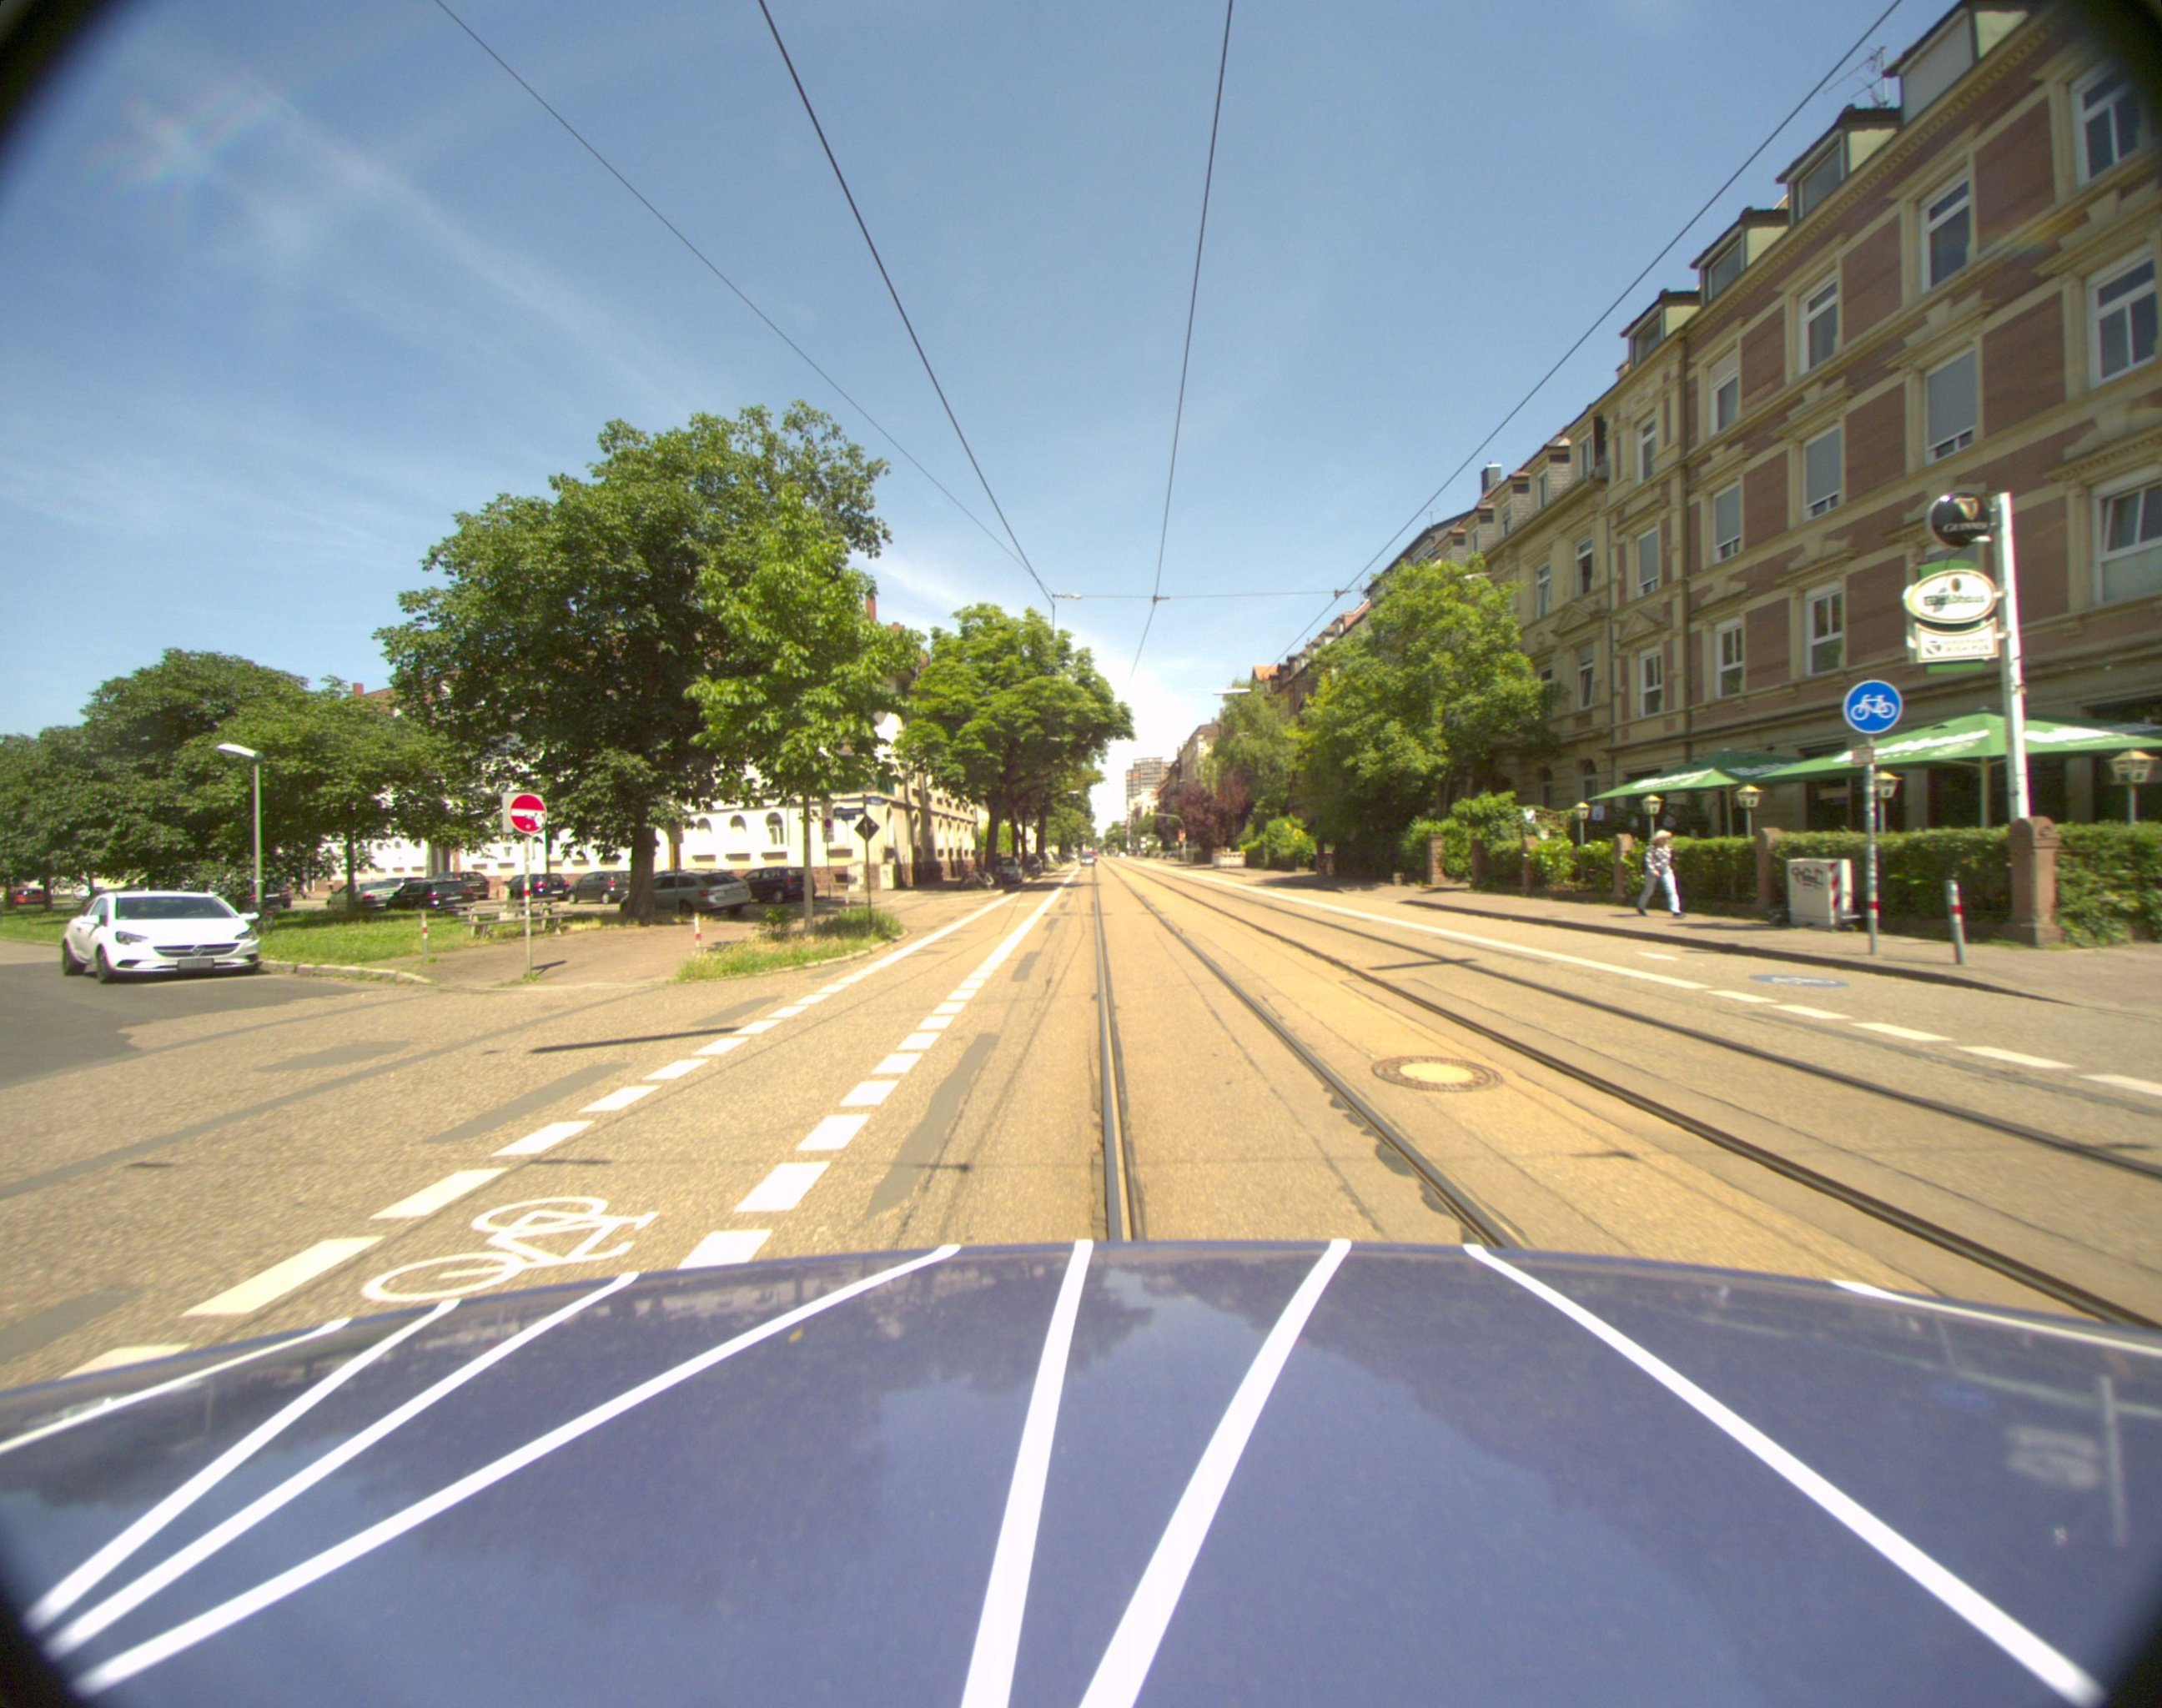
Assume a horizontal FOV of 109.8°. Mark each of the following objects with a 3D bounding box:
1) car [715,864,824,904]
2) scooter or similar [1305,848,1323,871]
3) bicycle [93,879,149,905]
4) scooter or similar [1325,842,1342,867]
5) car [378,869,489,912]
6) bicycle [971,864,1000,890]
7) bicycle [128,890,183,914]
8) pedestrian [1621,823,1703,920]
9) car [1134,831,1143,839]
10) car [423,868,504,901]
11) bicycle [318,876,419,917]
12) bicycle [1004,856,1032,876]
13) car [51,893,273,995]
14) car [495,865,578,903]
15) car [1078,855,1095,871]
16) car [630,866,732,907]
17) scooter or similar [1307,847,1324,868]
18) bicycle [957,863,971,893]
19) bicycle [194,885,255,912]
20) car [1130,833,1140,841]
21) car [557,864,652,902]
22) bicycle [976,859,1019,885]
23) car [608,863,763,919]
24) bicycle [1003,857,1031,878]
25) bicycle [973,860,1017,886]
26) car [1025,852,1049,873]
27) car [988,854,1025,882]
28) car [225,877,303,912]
[{"bbox_3d":[-12.250,1.167,29.869,3.874,1.439,1.648,-1,2,23],"label":"car"},{"bbox_3d":[11.827,0.269,38.570,0.616,1.151,0.695,-2,1,-2],"label":"scooter or similar"},{"bbox_3d":[-65.625,2.579,51.924,3.989,1.582,1.786,-1,2,31],"label":"bicycle"},{"bbox_3d":[13.929,0.022,41.991,0.617,1.391,0.694,-2,1,-9],"label":"scooter or similar"},{"bbox_3d":[-26.513,1.476,31.114,3.990,1.573,2.003,-2,2,27],"label":"car"},{"bbox_3d":[-4.081,0.970,32.538,1.169,1.057,0.280,-2,2,4],"label":"bicycle"},{"bbox_3d":[-58.517,3.022,48.027,3.410,1.300,1.620,-1,2,30],"label":"bicycle"},{"bbox_3d":[10.236,0.292,13.429,0.742,1.632,0.939,-2,1,4],"label":"pedestrian"},{"bbox_3d":[10.678,-3.538,140.882,1.493,1.372,3.630,-2,1,1],"label":"car"},{"bbox_3d":[-33.713,1.661,41.484,3.990,1.648,1.837,-1,0,25],"label":"car"},{"bbox_3d":[-31.735,1.880,33.843,3.990,1.636,1.841,-2,2,25],"label":"bicycle"},{"bbox_3d":[-3.887,0.746,46.679,1.623,1.194,0.305,-2,2,2],"label":"bicycle"},{"bbox_3d":[-16.095,1.451,13.280,3.989,1.411,1.857,-1,1,31],"label":"car"},{"bbox_3d":[-26.903,1.489,37.517,3.990,1.720,1.655,-1,2,28],"label":"car"},{"bbox_3d":[0.643,1.005,88.067,1.893,1.561,4.036,-2,2,1],"label":"car"},{"bbox_3d":[-17.114,1.364,32.499,3.990,1.495,1.823,-1,4,28],"label":"car"},{"bbox_3d":[12.857,0.190,41.623,0.617,1.151,0.694,-2,1,-9],"label":"scooter or similar"},{"bbox_3d":[-4.976,1.007,32.302,0.284,1.194,1.625,-3,2,-19],"label":"bicycle"},{"bbox_3d":[-48.066,2.474,42.630,3.734,1.385,1.578,-2,1,31],"label":"bicycle"},{"bbox_3d":[11.343,-3.563,160.048,1.998,1.717,3.871,-2,2,1],"label":"car"},{"bbox_3d":[-22.018,1.335,35.082,3.990,1.571,1.872,-1,2,28],"label":"car"},{"bbox_3d":[-4.159,0.884,37.718,2.037,1.194,0.445,-2,2,11],"label":"bicycle"},{"bbox_3d":[-12.382,1.162,23.730,4.664,1.506,1.879,-3,0,28],"label":"car"},{"bbox_3d":[-3.900,0.837,46.324,1.623,1.194,0.305,-2,2,2],"label":"bicycle"},{"bbox_3d":[-4.216,0.925,37.213,2.037,1.194,0.445,-2,2,11],"label":"bicycle"},{"bbox_3d":[-3.427,0.645,60.224,1.539,1.535,3.999,-2,1,1],"label":"car"},{"bbox_3d":[-4.048,0.754,41.927,1.596,1.444,3.631,-1,0,1],"label":"car"},{"bbox_3d":[-43.126,2.135,40.090,3.887,1.671,1.767,-1,2,28],"label":"car"}]
